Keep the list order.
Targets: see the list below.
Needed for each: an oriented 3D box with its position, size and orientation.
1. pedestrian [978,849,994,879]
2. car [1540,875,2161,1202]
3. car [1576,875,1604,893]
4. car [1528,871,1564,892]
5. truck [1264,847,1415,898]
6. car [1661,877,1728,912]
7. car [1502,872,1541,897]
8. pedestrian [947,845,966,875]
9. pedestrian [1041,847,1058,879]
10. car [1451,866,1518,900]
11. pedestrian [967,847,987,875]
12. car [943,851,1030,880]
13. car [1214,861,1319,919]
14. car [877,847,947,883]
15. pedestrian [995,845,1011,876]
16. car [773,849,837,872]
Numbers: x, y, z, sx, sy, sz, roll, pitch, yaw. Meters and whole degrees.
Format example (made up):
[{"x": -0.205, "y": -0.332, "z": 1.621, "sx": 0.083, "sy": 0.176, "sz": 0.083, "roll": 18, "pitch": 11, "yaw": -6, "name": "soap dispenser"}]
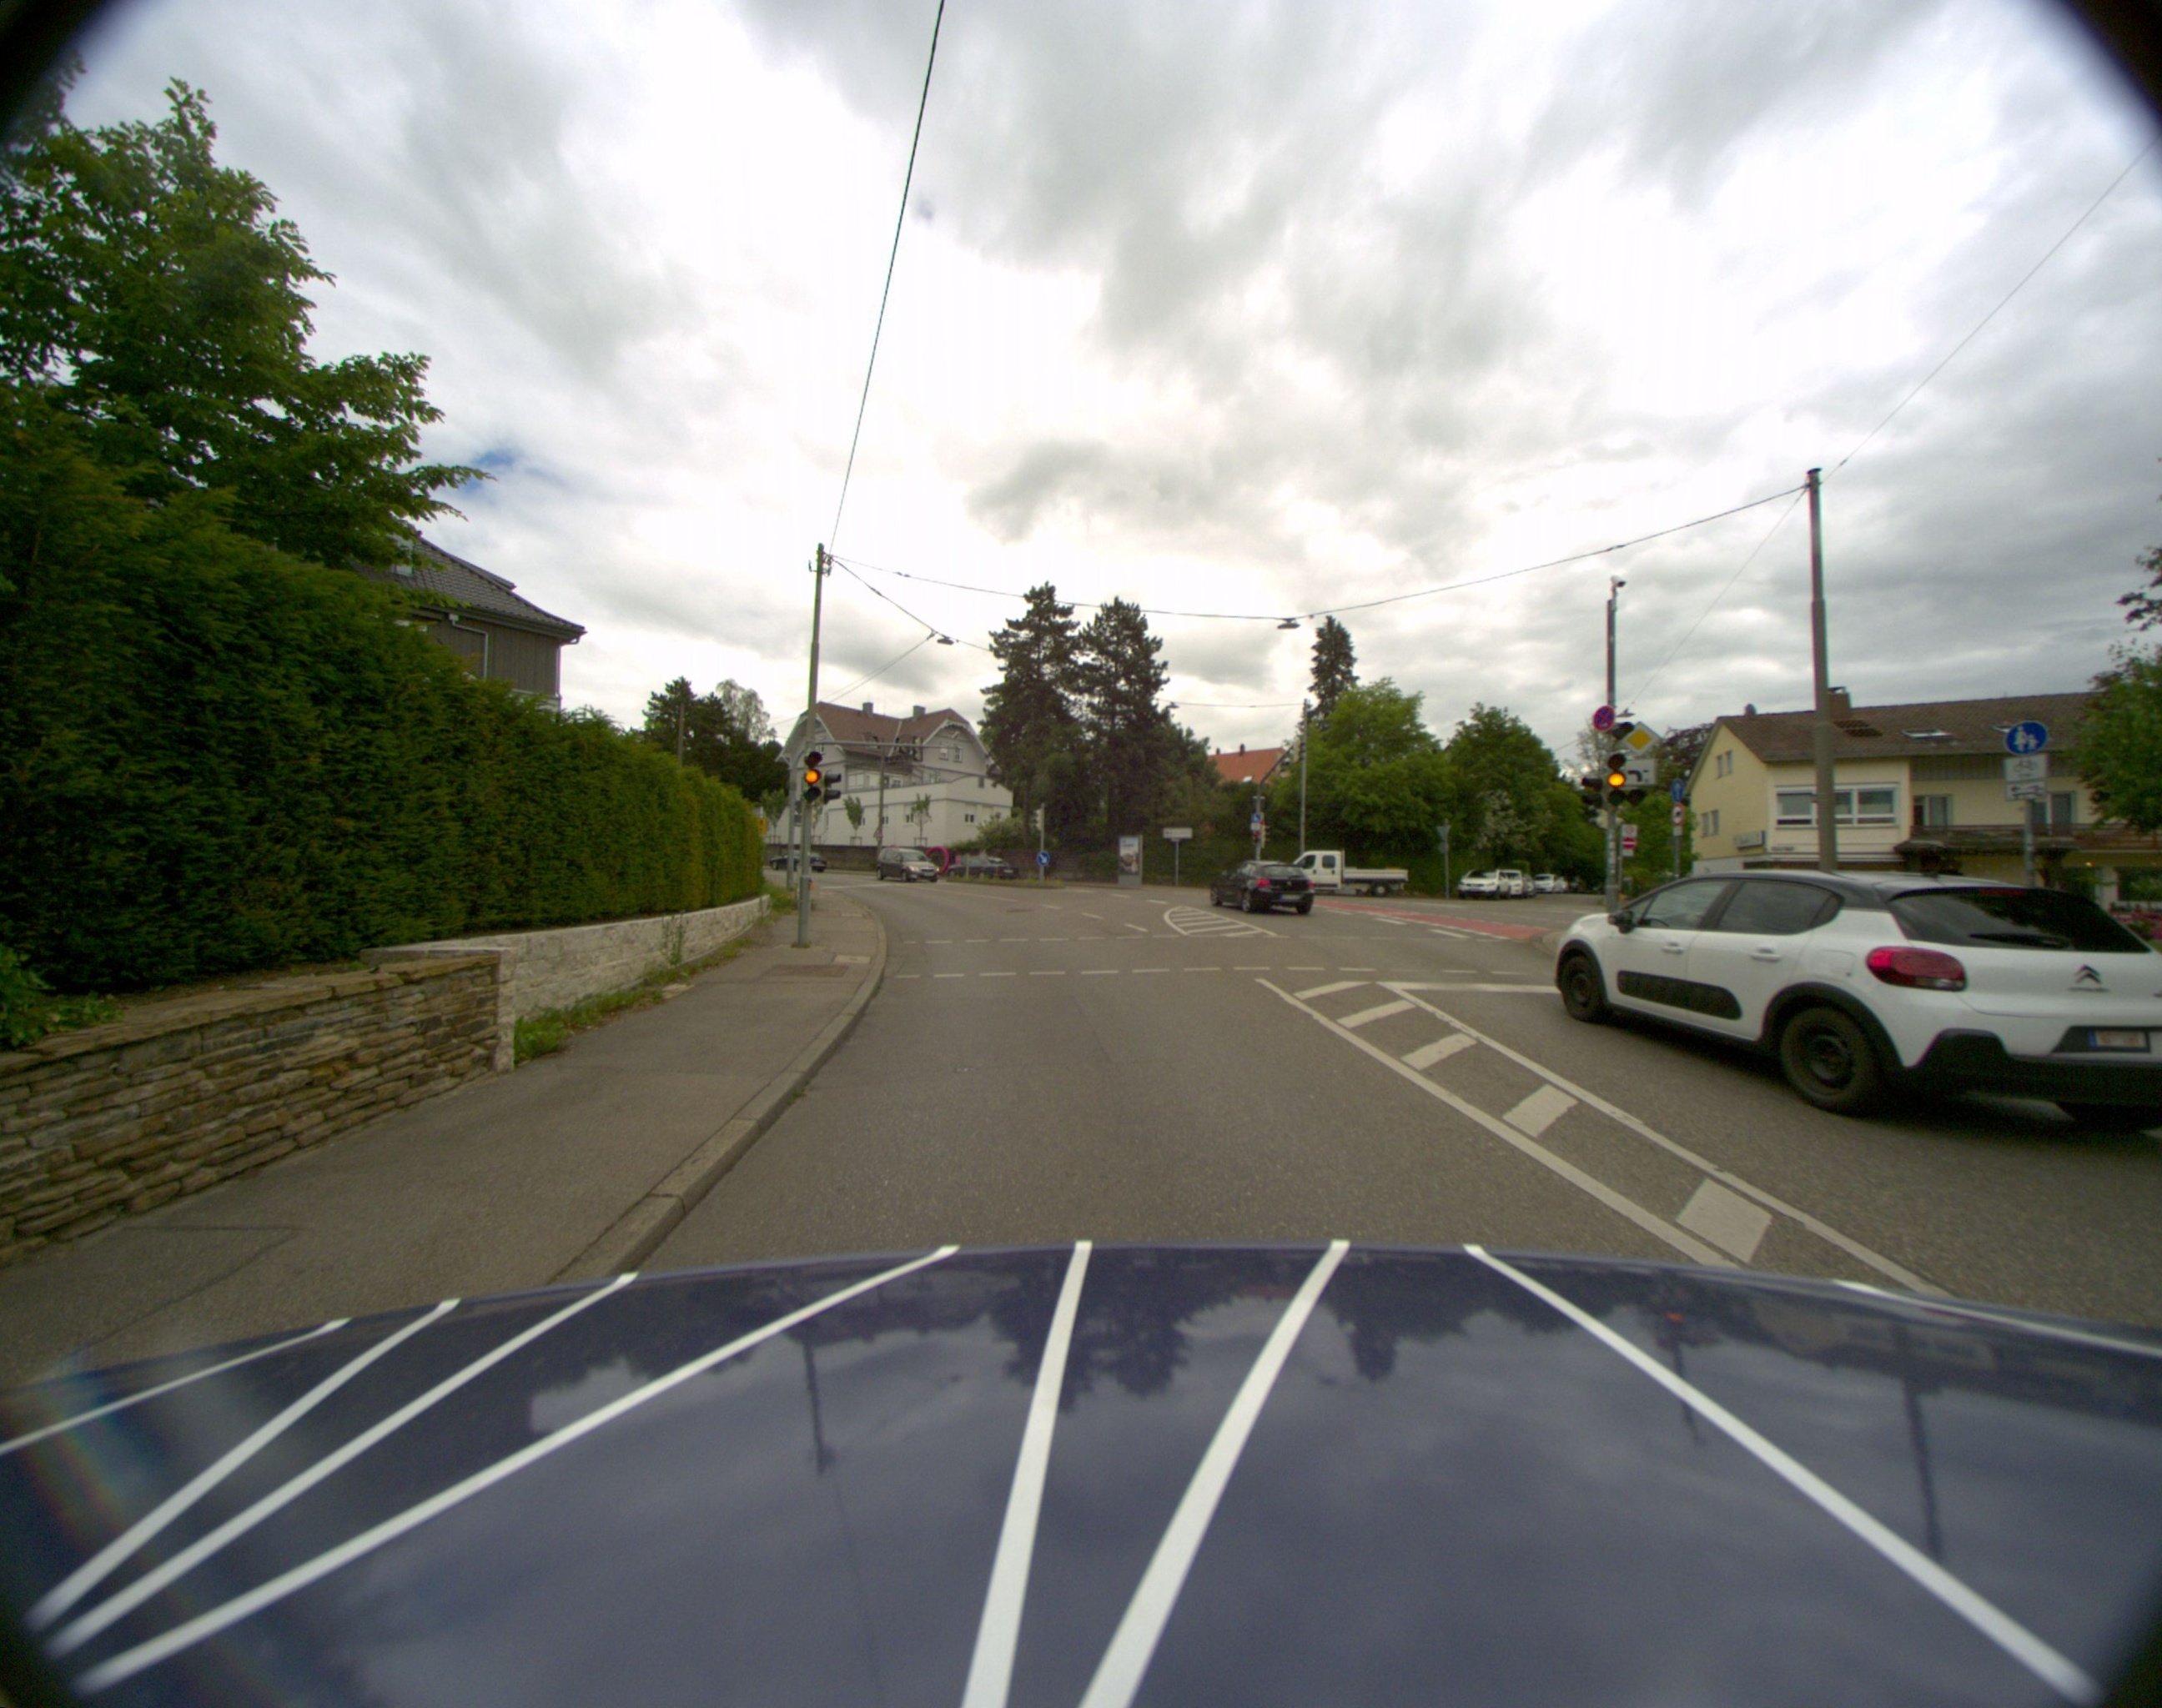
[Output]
[{"x": -5.661, "y": 0.609, "z": 45.137, "sx": 0.665, "sy": 1.777, "sz": 0.614, "roll": 2, "pitch": 0, "yaw": 32, "name": "pedestrian"}, {"x": 5.297, "y": 0.970, "z": 5.556, "sx": 1.699, "sy": 1.431, "sz": 3.758, "roll": 3, "pitch": 0, "yaw": 3, "name": "car"}, {"x": 49.694, "y": 2.900, "z": 74.189, "sx": 1.866, "sy": 1.577, "sz": 3.739, "roll": 1, "pitch": 0, "yaw": 40, "name": "car"}, {"x": 36.775, "y": 2.161, "z": 60.090, "sx": 1.866, "sy": 1.577, "sz": 3.739, "roll": 1, "pitch": 0, "yaw": 40, "name": "car"}, {"x": 12.550, "y": 0.838, "z": 37.320, "sx": 6.703, "sy": 2.176, "sz": 2.533, "roll": 2, "pitch": 1, "yaw": 16, "name": "truck"}, {"x": 29.018, "y": 1.874, "z": 36.045, "sx": 1.875, "sy": 1.440, "sz": 4.009, "roll": 2, "pitch": 0, "yaw": 31, "name": "car"}, {"x": 27.858, "y": 1.881, "z": 48.018, "sx": 1.867, "sy": 1.444, "sz": 3.739, "roll": 0, "pitch": -1, "yaw": 34, "name": "car"}, {"x": -7.600, "y": 0.346, "z": 46.292, "sx": 0.686, "sy": 1.803, "sz": 0.882, "roll": 2, "pitch": 0, "yaw": 34, "name": "pedestrian"}, {"x": -1.838, "y": 0.521, "z": 44.271, "sx": 0.611, "sy": 1.824, "sz": 0.680, "roll": 2, "pitch": 0, "yaw": 31, "name": "pedestrian"}, {"x": 20.739, "y": 1.445, "z": 38.989, "sx": 1.994, "sy": 1.603, "sz": 4.009, "roll": 2, "pitch": 0, "yaw": 44, "name": "car"}, {"x": -6.332, "y": 0.429, "z": 46.324, "sx": 0.749, "sy": 1.643, "sz": 0.882, "roll": 2, "pitch": 0, "yaw": 34, "name": "pedestrian"}, {"x": -5.034, "y": 0.593, "z": 40.044, "sx": 4.853, "sy": 1.320, "sz": 1.856, "roll": 2, "pitch": 1, "yaw": 44, "name": "car"}, {"x": 5.107, "y": 0.940, "z": 21.428, "sx": 1.767, "sy": 1.400, "sz": 3.999, "roll": 2, "pitch": 0, "yaw": -3, "name": "car"}, {"x": -8.061, "y": 0.481, "z": 35.940, "sx": 1.621, "sy": 1.571, "sz": 3.989, "roll": 0, "pitch": 1, "yaw": -39, "name": "car"}, {"x": -4.637, "y": 0.391, "z": 45.155, "sx": 0.611, "sy": 1.824, "sz": 0.605, "roll": 2, "pitch": 0, "yaw": 32, "name": "pedestrian"}, {"x": -18.708, "y": 0.413, "z": 51.393, "sx": 5.042, "sy": 1.414, "sz": 2.004, "roll": 1, "pitch": 0, "yaw": 44, "name": "car"}]
